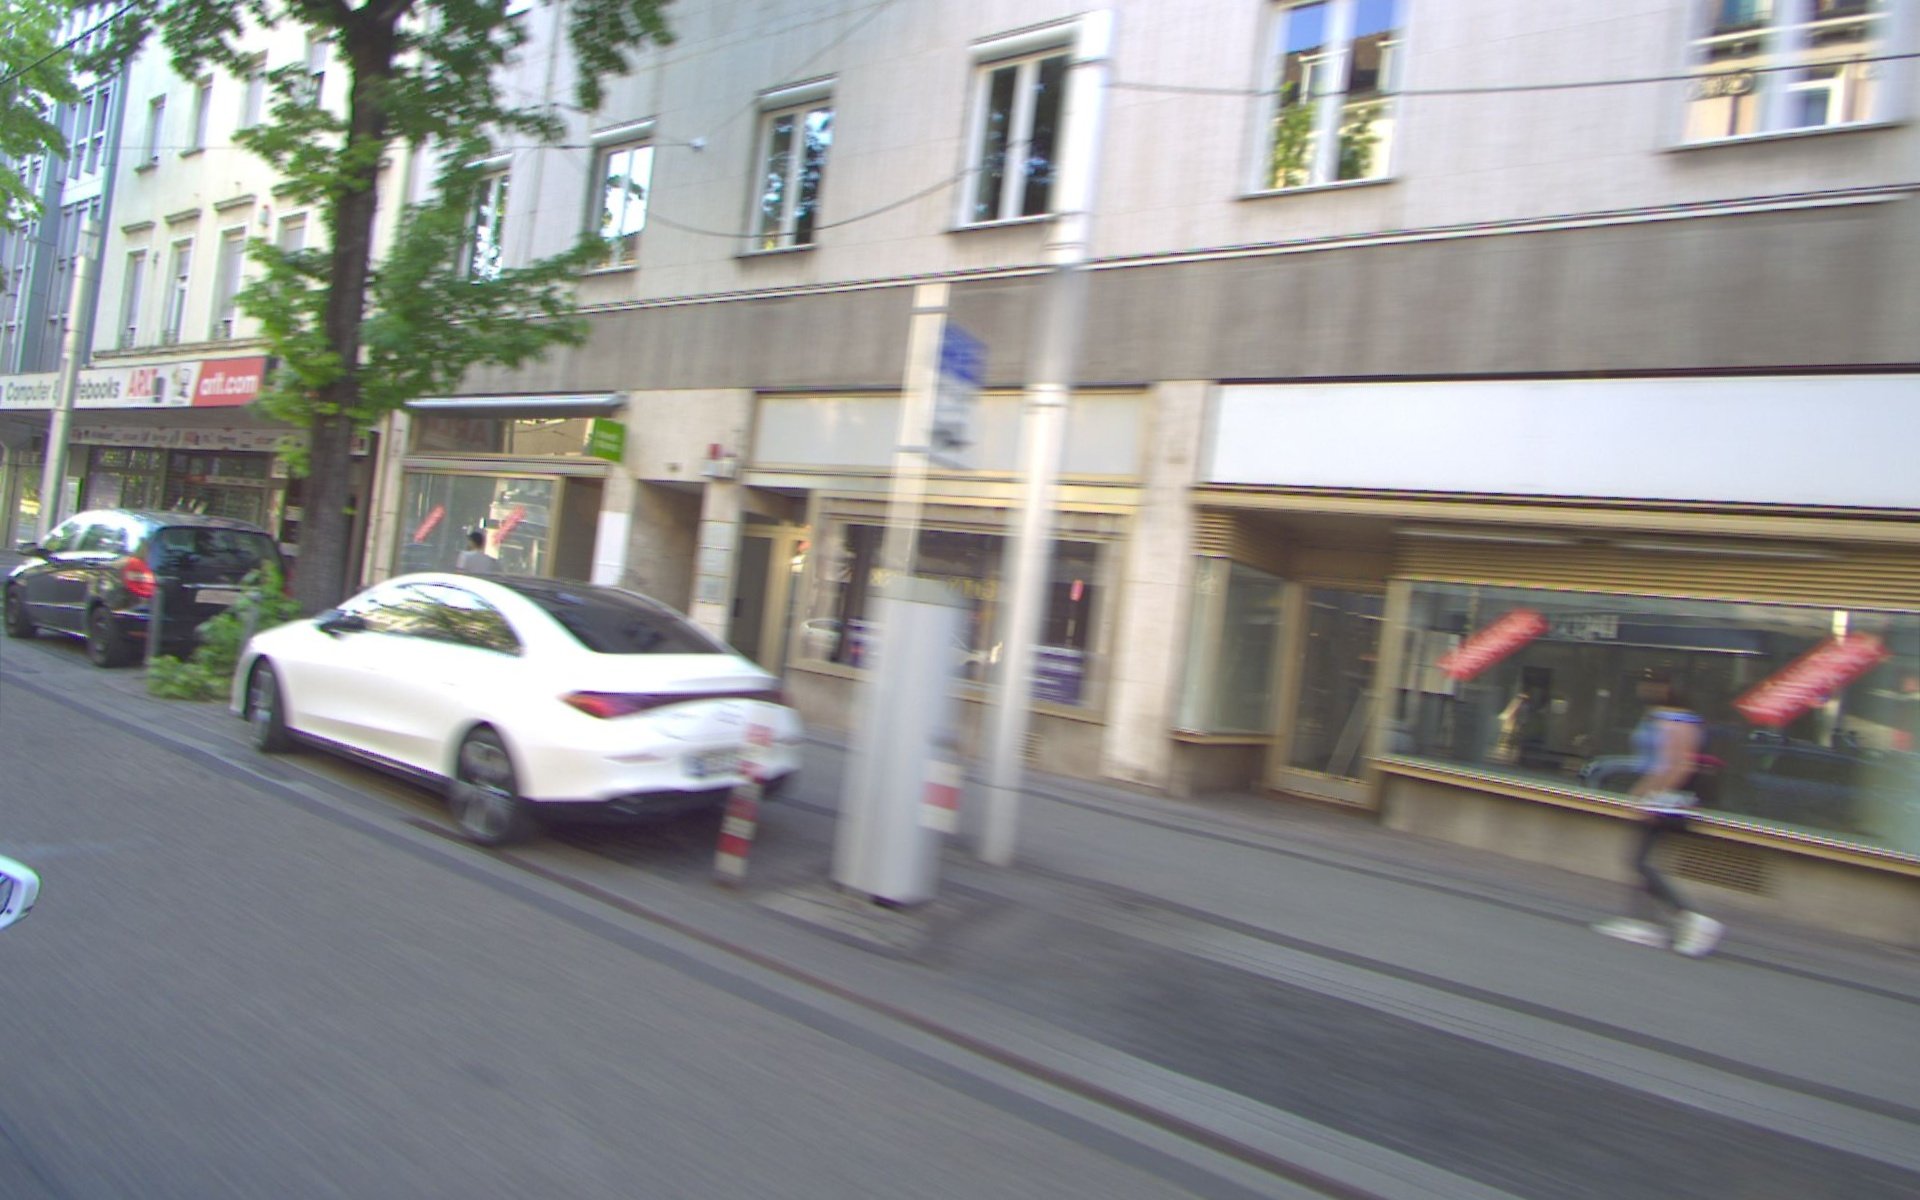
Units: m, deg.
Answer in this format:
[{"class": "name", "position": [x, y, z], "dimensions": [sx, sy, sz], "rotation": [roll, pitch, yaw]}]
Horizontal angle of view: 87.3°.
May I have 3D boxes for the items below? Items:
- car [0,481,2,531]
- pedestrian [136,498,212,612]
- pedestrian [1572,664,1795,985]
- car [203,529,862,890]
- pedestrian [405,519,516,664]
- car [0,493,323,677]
[{"class": "car", "position": [-17.553, -1.242, 16.247], "dimensions": [4.602, 1.783, 1.938], "rotation": [7, 2, 32]}, {"class": "pedestrian", "position": [-12.327, -0.701, 15.771], "dimensions": [0.773, 1.692, 0.643], "rotation": [7, 3, 32]}, {"class": "pedestrian", "position": [4.327, 1.286, 6.099], "dimensions": [0.873, 1.687, 0.658], "rotation": [7, 2, 32]}, {"class": "car", "position": [-3.163, 0.500, 7.096], "dimensions": [4.603, 1.518, 1.993], "rotation": [7, 2, 33]}, {"class": "pedestrian", "position": [-6.604, -0.107, 13.314], "dimensions": [0.917, 1.776, 0.858], "rotation": [7, 3, 32]}, {"class": "car", "position": [-9.197, -0.222, 11.430], "dimensions": [3.827, 1.612, 1.776], "rotation": [7, 2, 32]}]
